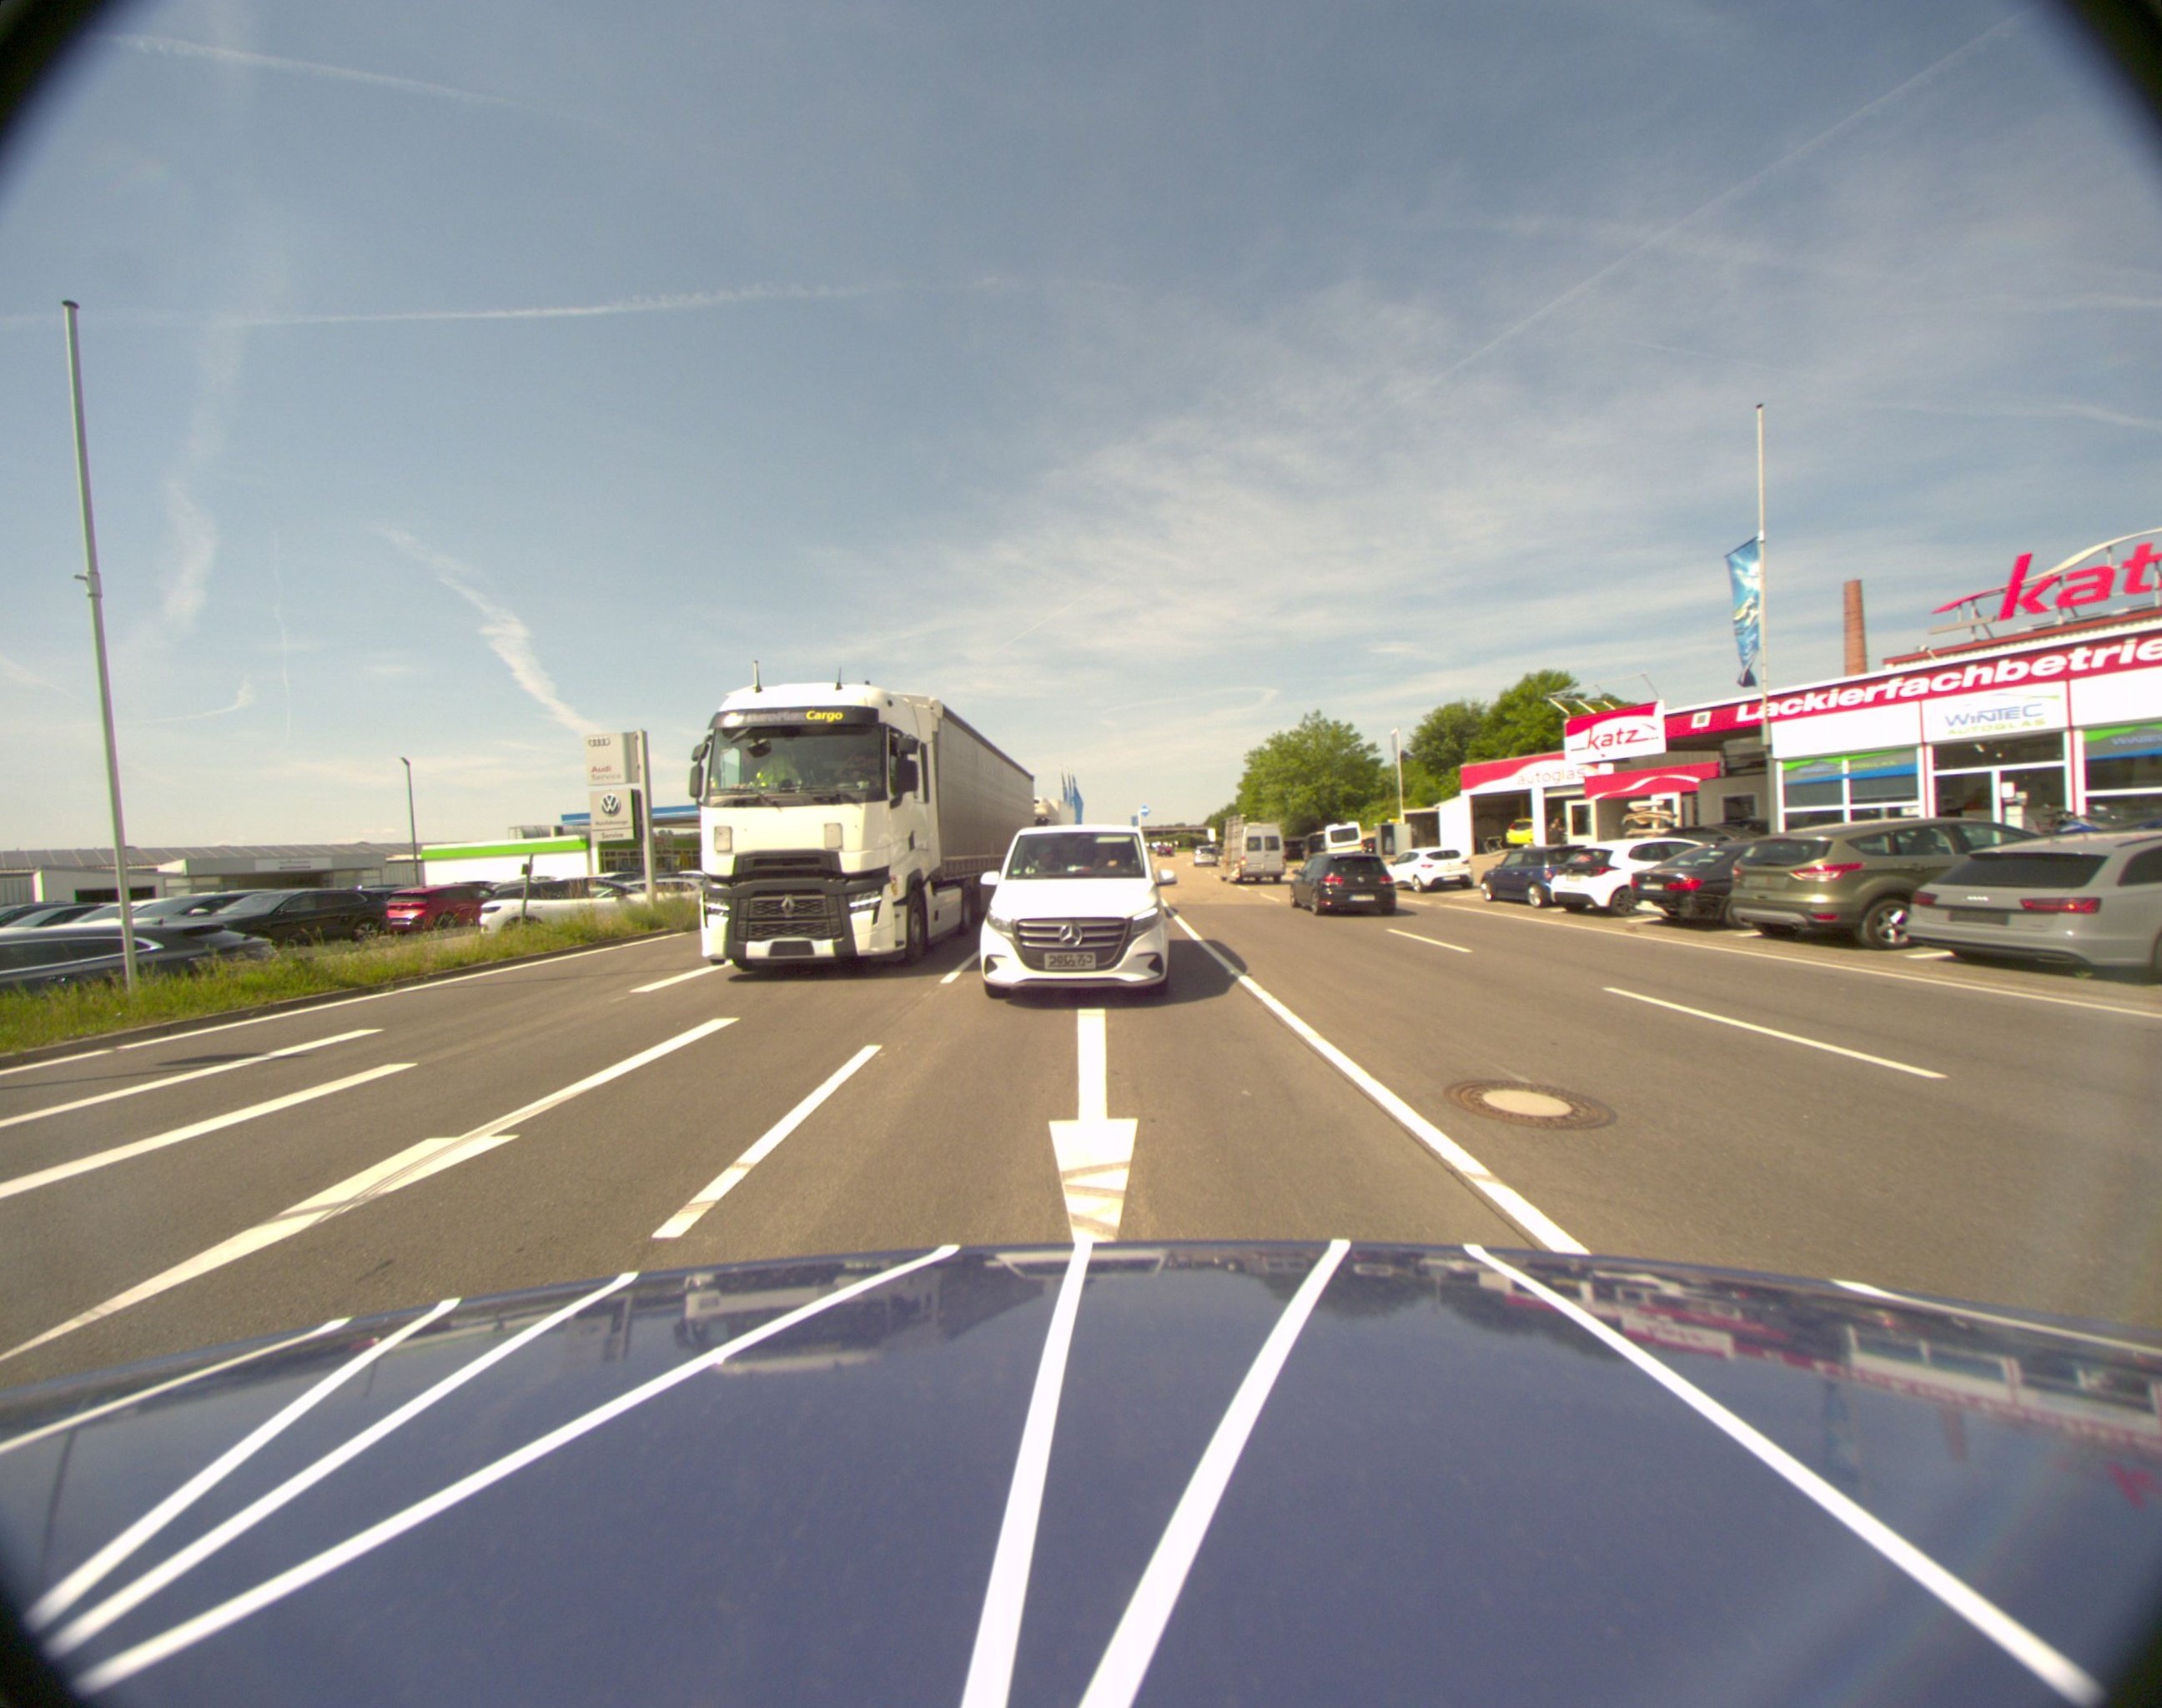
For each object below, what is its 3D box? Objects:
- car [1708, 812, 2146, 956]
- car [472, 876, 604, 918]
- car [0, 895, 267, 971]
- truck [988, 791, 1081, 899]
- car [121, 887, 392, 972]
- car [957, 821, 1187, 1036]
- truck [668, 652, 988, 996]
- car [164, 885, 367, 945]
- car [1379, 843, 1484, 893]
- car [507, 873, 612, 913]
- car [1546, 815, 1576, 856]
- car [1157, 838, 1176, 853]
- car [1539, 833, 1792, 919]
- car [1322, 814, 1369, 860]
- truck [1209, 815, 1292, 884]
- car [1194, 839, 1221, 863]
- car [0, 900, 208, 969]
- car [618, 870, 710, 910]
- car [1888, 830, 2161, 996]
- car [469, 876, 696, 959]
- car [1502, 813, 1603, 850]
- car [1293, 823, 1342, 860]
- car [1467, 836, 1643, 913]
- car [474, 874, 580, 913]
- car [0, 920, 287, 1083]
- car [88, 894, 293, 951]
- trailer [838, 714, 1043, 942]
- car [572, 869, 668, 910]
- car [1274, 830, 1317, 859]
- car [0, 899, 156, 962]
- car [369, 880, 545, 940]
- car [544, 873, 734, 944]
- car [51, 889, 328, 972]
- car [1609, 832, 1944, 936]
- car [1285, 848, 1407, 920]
[{"bbox_3d":[11.661,0.389,10.730,3.996,1.717,1.871,-2,1,2],"label":"car"},{"bbox_3d":[-23.342,1.840,32.734,4.532,1.571,1.777,-2,1,8],"label":"car"},{"bbox_3d":[-25.926,2.085,20.969,1.689,1.517,4.539,-2,1,6],"label":"car"},{"bbox_3d":[-1.732,-0.381,33.116,2.646,3.964,9.241,-2,1,4],"label":"truck"},{"bbox_3d":[-21.031,1.847,19.737,1.774,1.645,4.539,-2,1,6],"label":"car"},{"bbox_3d":[-0.049,0.635,9.714,1.993,1.858,5.803,-2,1,1],"label":"car"},{"bbox_3d":[-3.362,-0.372,12.014,2.647,3.964,6.042,-2,1,3],"label":"truck"},{"bbox_3d":[-28.202,2.046,26.547,1.773,1.645,4.541,-2,1,10],"label":"car"},{"bbox_3d":[11.796,0.422,25.853,1.765,1.406,4.000,-6,1,3],"label":"car"},{"bbox_3d":[-25.076,1.837,36.718,1.774,1.571,4.239,-2,1,6],"label":"car"},{"bbox_3d":[21.923,-0.831,34.732,0.881,1.825,0.846,-2,1,14],"label":"car"},{"bbox_3d":[11.167,-1.091,98.612,2.052,1.812,4.512,-1,1,12],"label":"car"},{"bbox_3d":[12.106,0.428,15.936,3.798,1.542,1.941,-2,1,-1],"label":"car"},{"bbox_3d":[16.408,-1.042,46.970,2.436,2.529,6.049,-3,0,20],"label":"car"},{"bbox_3d":[7.666,-0.207,35.108,2.442,2.820,6.041,-2,1,1],"label":"truck"},{"bbox_3d":[10.284,-0.254,62.038,2.053,1.812,4.510,-1,1,7],"label":"car"},{"bbox_3d":[-28.269,2.212,21.406,1.774,1.433,4.539,-2,1,6],"label":"car"},{"bbox_3d":[-19.952,1.681,36.562,1.774,1.571,4.149,-2,1,6],"label":"car"},{"bbox_3d":[11.538,0.522,8.153,3.974,1.484,1.739,-2,1,-2],"label":"car"},{"bbox_3d":[-12.364,1.519,19.243,4.543,1.645,1.772,-3,1,-26],"label":"car"},{"bbox_3d":[24.141,-1.148,38.911,4.539,1.644,1.873,-3,1,-17],"label":"car"},{"bbox_3d":[18.106,-0.943,58.369,2.438,2.529,5.341,-3,0,5],"label":"car"},{"bbox_3d":[11.701,0.435,19.122,1.998,1.546,4.001,-6,0,4],"label":"car"},{"bbox_3d":[-27.343,1.914,37.679,1.720,1.571,4.325,-2,1,6],"label":"car"},{"bbox_3d":[-13.055,1.820,9.087,4.544,1.571,1.772,-3,1,-30],"label":"car"},{"bbox_3d":[-32.804,2.471,28.218,1.772,1.645,4.543,-2,1,17],"label":"car"},{"bbox_3d":[-2.944,-0.541,19.977,2.613,4.203,11.292,-2,1,3],"label":"trailer"},{"bbox_3d":[-22.300,1.662,36.967,1.712,1.703,4.261,-2,1,6],"label":"car"},{"bbox_3d":[18.067,-0.800,64.229,2.438,2.250,5.341,-3,0,5],"label":"car"},{"bbox_3d":[-30.811,2.253,22.454,1.607,1.523,4.130,-2,1,6],"label":"car"},{"bbox_3d":[-20.641,1.792,25.443,1.774,1.571,4.539,-2,1,6],"label":"car"},{"bbox_3d":[-12.612,1.497,22.057,4.543,1.645,1.772,-3,1,-24],"label":"car"},{"bbox_3d":[-23.539,1.936,20.392,1.774,1.645,4.539,-2,1,6],"label":"car"},{"bbox_3d":[11.876,0.467,13.202,3.997,1.516,1.999,-2,1,-1],"label":"car"},{"bbox_3d":[6.264,0.642,18.427,1.858,1.452,4.001,-2,1,5],"label":"car"}]
